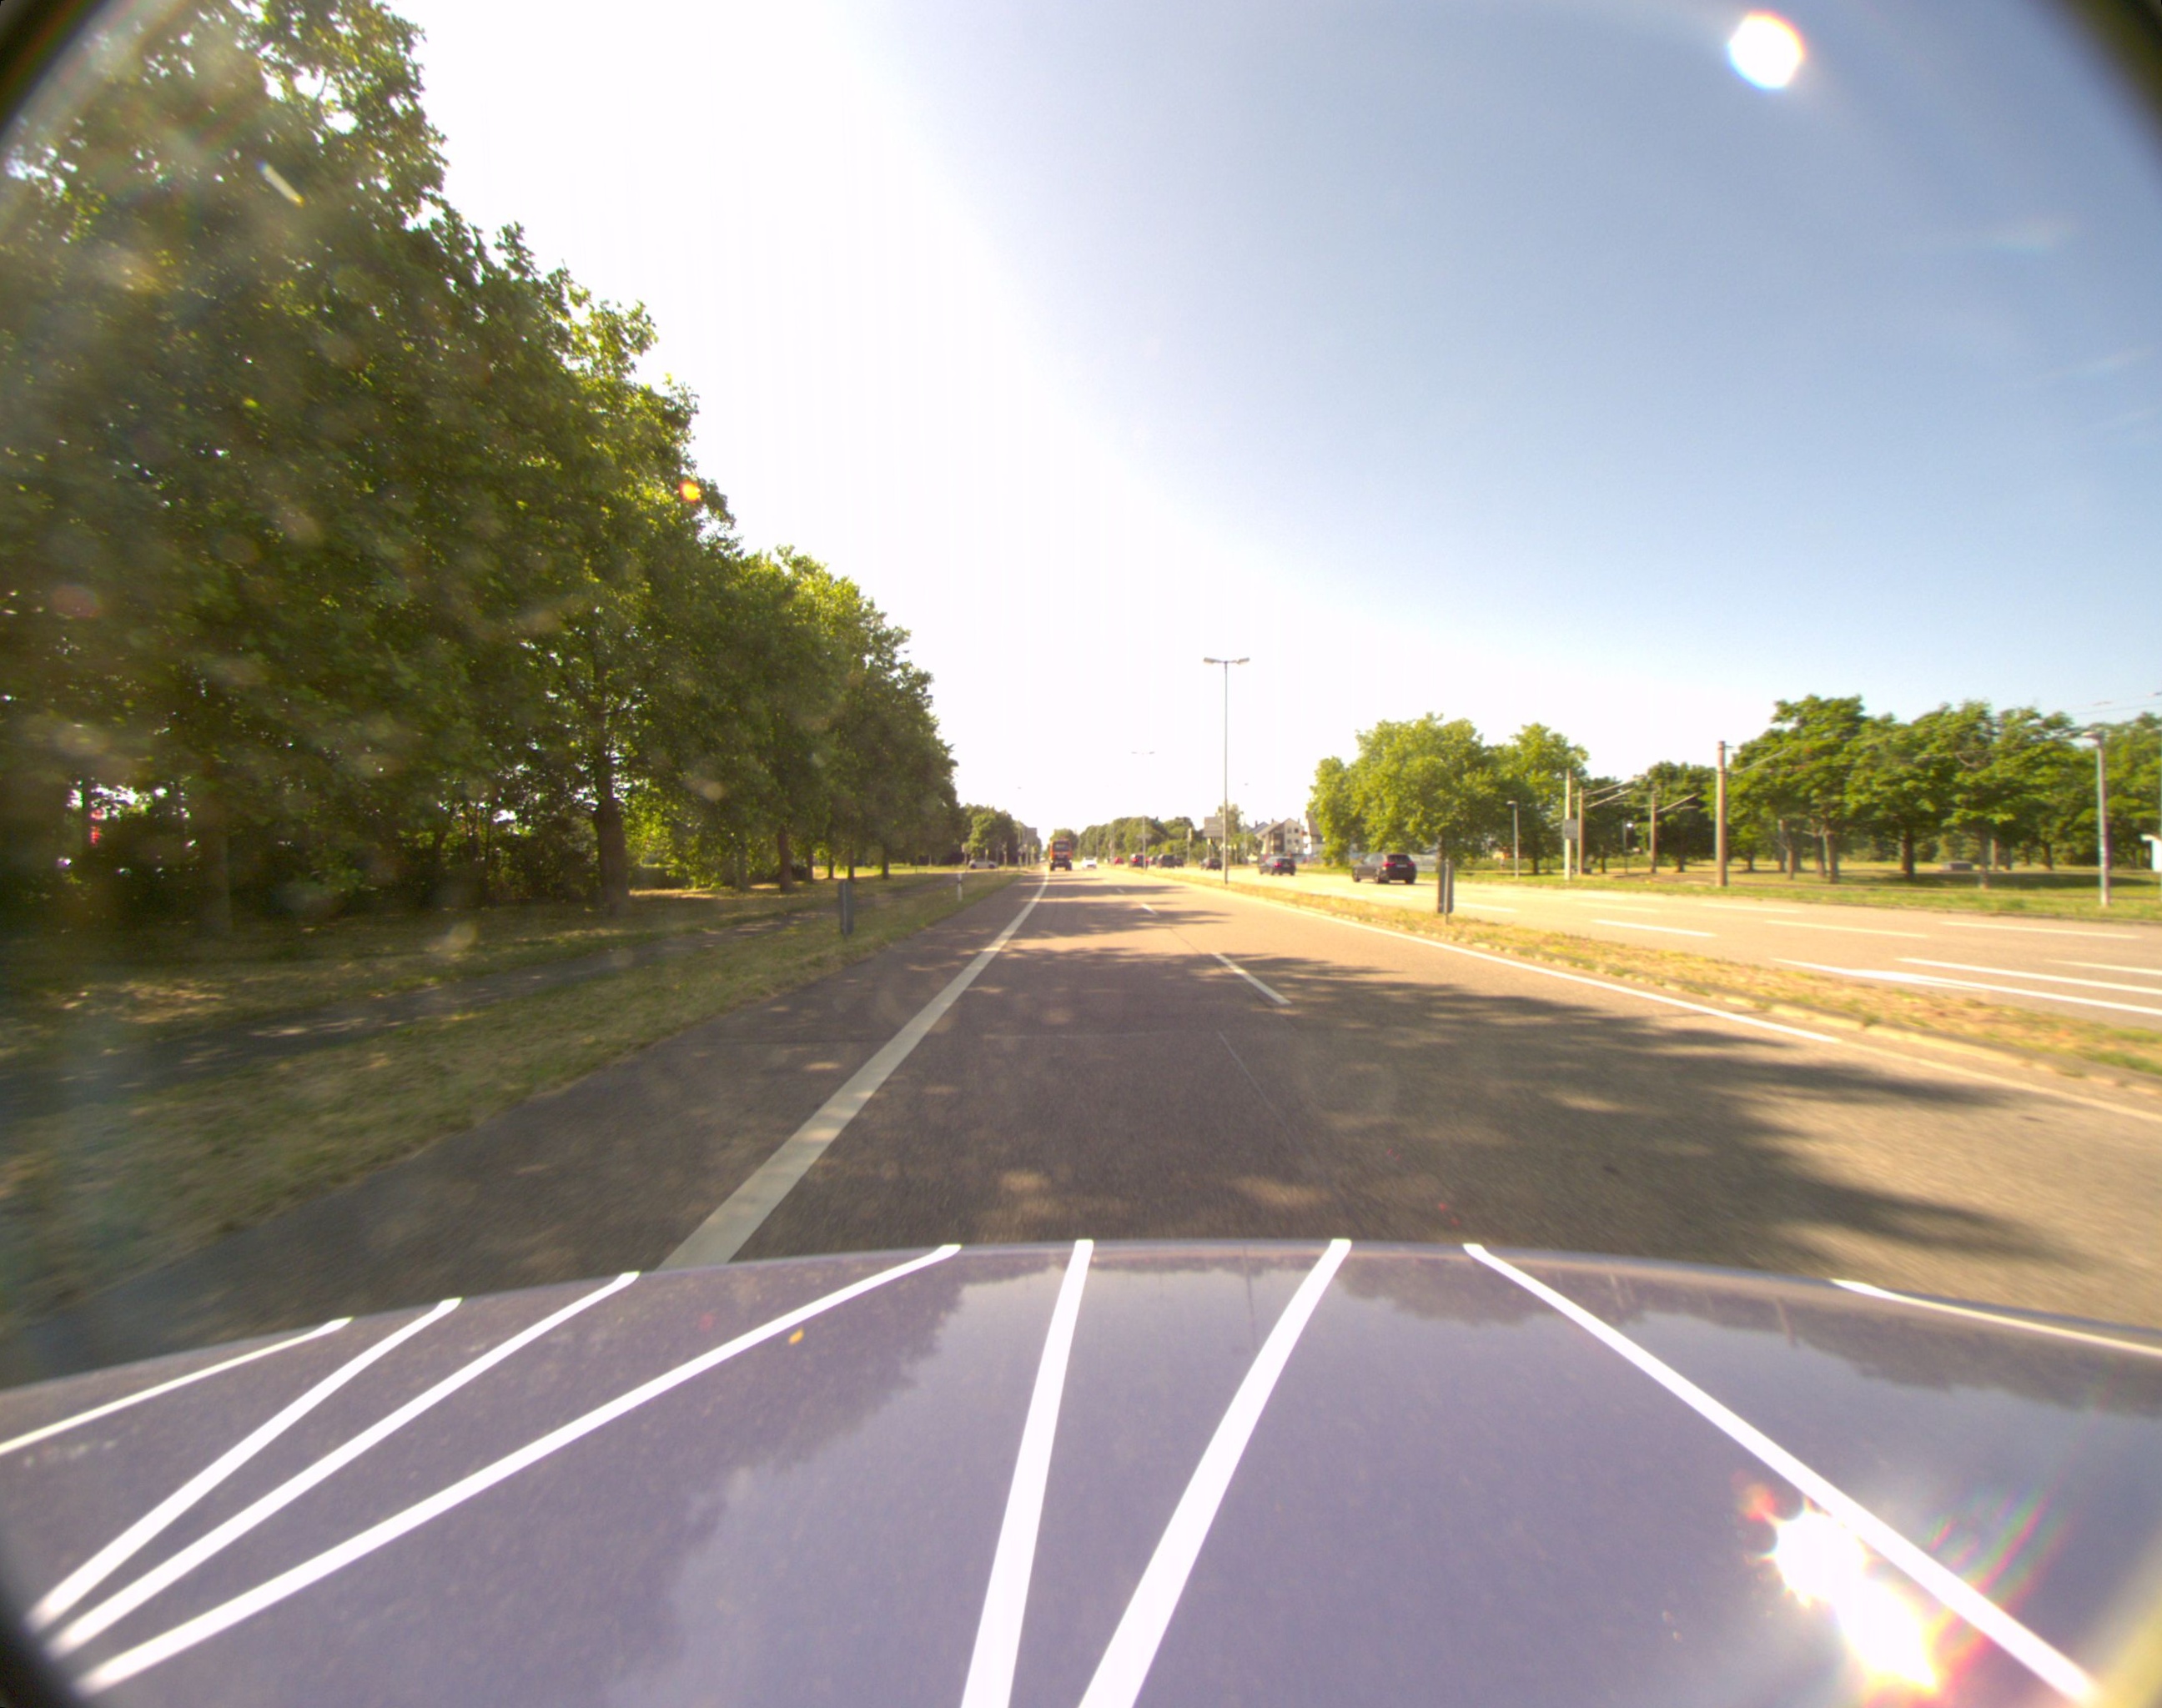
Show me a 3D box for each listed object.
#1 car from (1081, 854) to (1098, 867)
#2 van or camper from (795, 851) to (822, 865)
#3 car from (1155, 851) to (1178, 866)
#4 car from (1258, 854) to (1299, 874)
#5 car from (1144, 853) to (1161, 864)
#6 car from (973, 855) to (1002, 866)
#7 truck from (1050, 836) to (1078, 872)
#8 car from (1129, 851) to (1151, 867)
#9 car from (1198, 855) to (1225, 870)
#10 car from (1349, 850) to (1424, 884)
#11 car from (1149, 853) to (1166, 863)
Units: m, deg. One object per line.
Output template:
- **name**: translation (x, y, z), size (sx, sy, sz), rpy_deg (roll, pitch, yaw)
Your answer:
- **car**: translation (1.091, 0.874, 99.295), size (1.869, 1.499, 4.336), rpy_deg (-2, -1, -4)
- **van or camper**: translation (-55.786, 0.851, 155.717), size (4.814, 2.815, 1.999), rpy_deg (0, 0, -5)
- **car**: translation (10.411, 0.577, 92.884), size (1.987, 1.769, 4.488), rpy_deg (0, 0, -3)
- **car**: translation (15.220, 0.762, 58.870), size (1.836, 1.457, 4.468), rpy_deg (-1, 0, -2)
- **car**: translation (10.406, 0.657, 110.129), size (1.986, 1.449, 4.450), rpy_deg (1, 0, -1)
- **car**: translation (-13.333, 0.863, 108.487), size (4.063, 1.555, 1.742), rpy_deg (0, 0, -3)
- **truck**: translation (-2.010, -0.063, 86.473), size (2.941, 3.852, 6.589), rpy_deg (-2, 0, -2)
- **car**: translation (6.864, 0.547, 88.622), size (1.986, 1.740, 4.506), rpy_deg (-1, 0, -2)
- **car**: translation (14.082, 0.922, 82.116), size (1.867, 1.536, 4.405), rpy_deg (1, 0, -3)
- **car**: translation (15.941, 0.648, 39.886), size (1.987, 1.650, 4.554), rpy_deg (-1, 0, -2)
- **car**: translation (12.634, 0.611, 125.380), size (2.077, 1.613, 4.488), rpy_deg (-1, 0, -3)
